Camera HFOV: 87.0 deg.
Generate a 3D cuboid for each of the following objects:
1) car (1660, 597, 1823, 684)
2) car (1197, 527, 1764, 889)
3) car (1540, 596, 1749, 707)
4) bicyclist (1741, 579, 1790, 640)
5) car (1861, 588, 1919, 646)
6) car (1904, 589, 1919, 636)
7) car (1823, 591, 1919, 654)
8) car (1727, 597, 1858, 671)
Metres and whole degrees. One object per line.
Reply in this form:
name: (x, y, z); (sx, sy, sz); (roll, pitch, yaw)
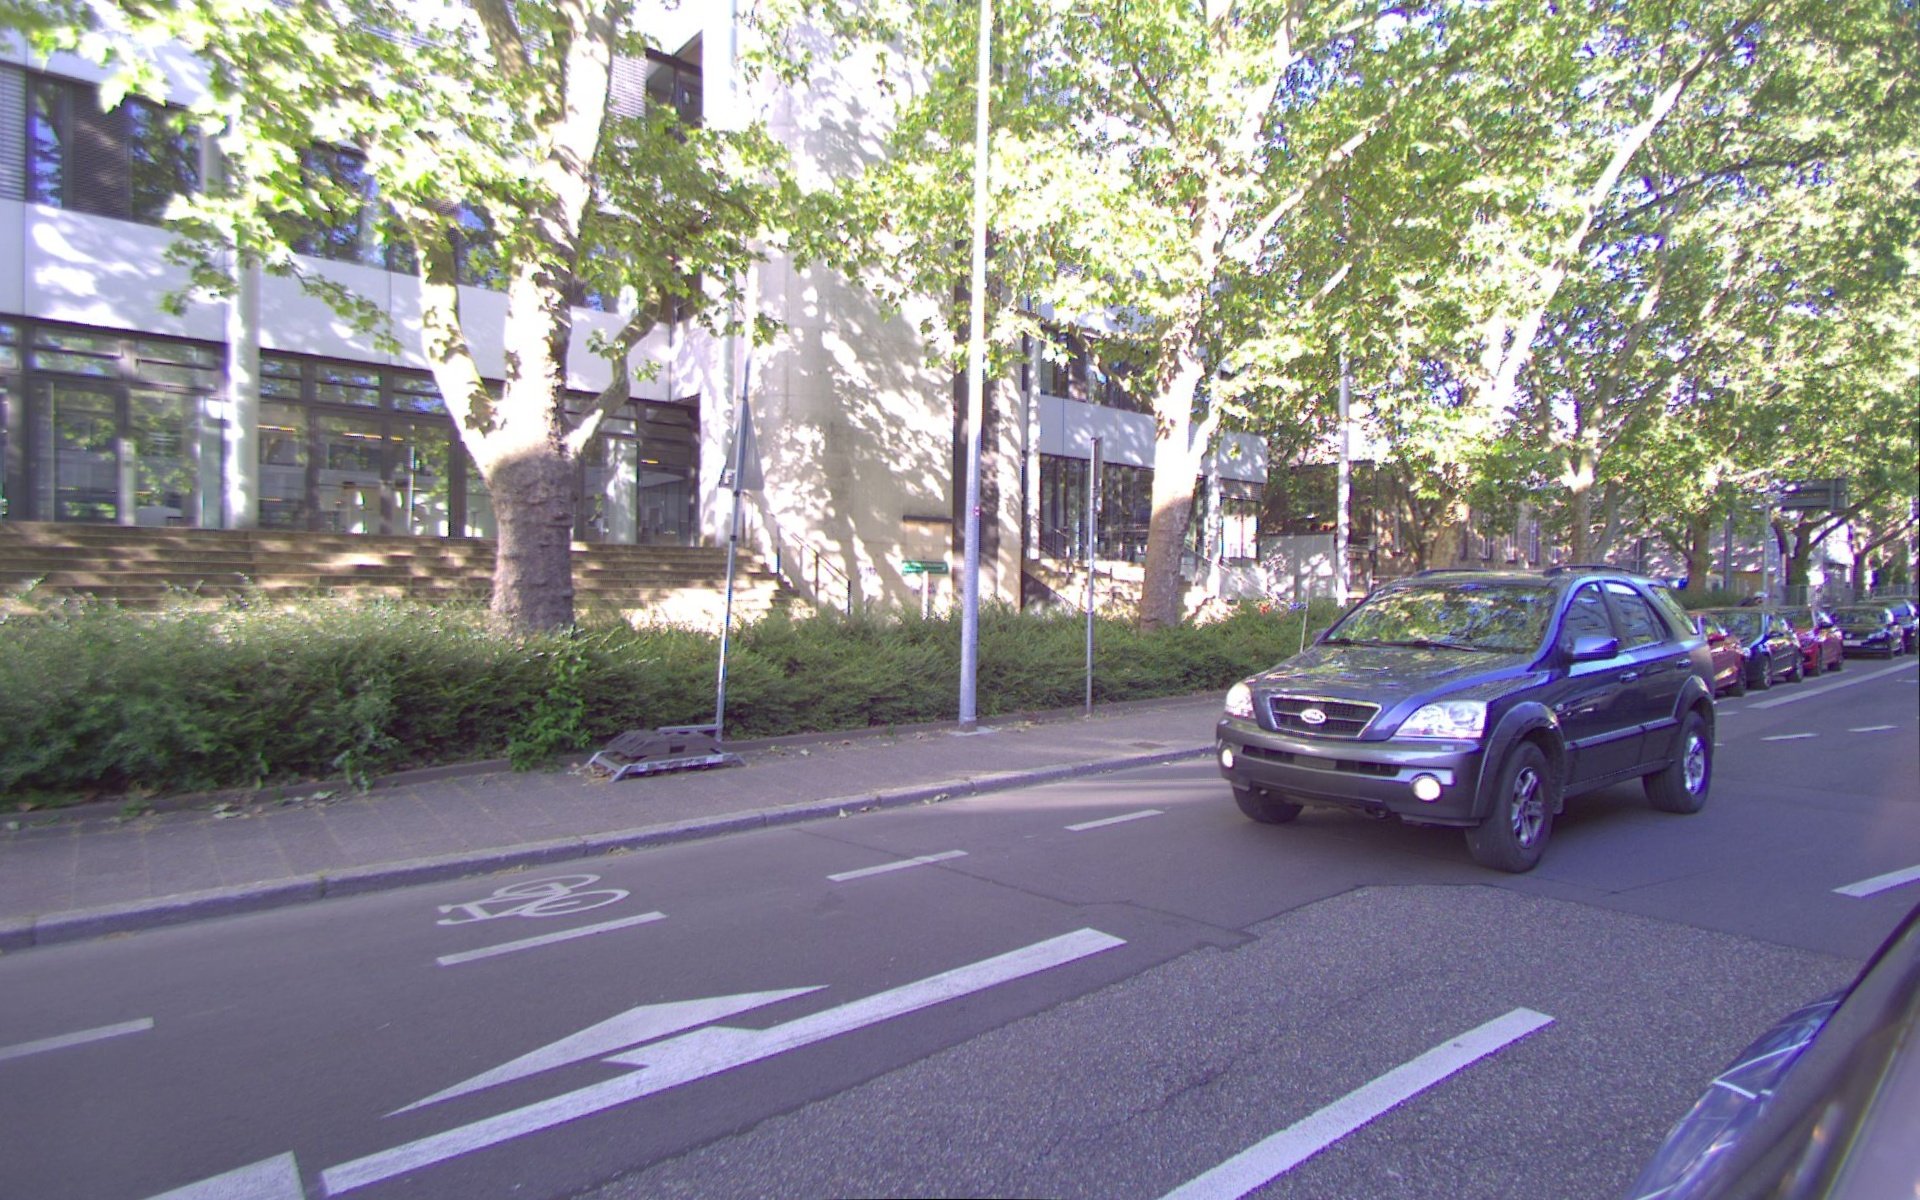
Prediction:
car: (14.956, 0.709, 19.304); (4.022, 1.472, 1.739); (0, -1, -42)
car: (3.771, 0.537, 7.034); (4.303, 1.793, 1.785); (0, -1, -37)
car: (11.057, 0.738, 16.243); (4.071, 1.548, 1.827); (0, -1, -42)
bicyclist: (21.920, 0.247, 27.553); (1.032, 1.640, 0.688); (0, 0, 39)
car: (29.746, 0.492, 31.863); (3.840, 1.708, 1.633); (0, 1, -42)
car: (38.763, 0.496, 40.021); (3.829, 1.818, 1.739); (0, 1, -42)
car: (25.975, 0.594, 28.735); (4.022, 1.653, 1.739); (0, 1, -42)
car: (18.655, 0.702, 22.624); (3.851, 1.511, 1.679); (0, -1, -42)
